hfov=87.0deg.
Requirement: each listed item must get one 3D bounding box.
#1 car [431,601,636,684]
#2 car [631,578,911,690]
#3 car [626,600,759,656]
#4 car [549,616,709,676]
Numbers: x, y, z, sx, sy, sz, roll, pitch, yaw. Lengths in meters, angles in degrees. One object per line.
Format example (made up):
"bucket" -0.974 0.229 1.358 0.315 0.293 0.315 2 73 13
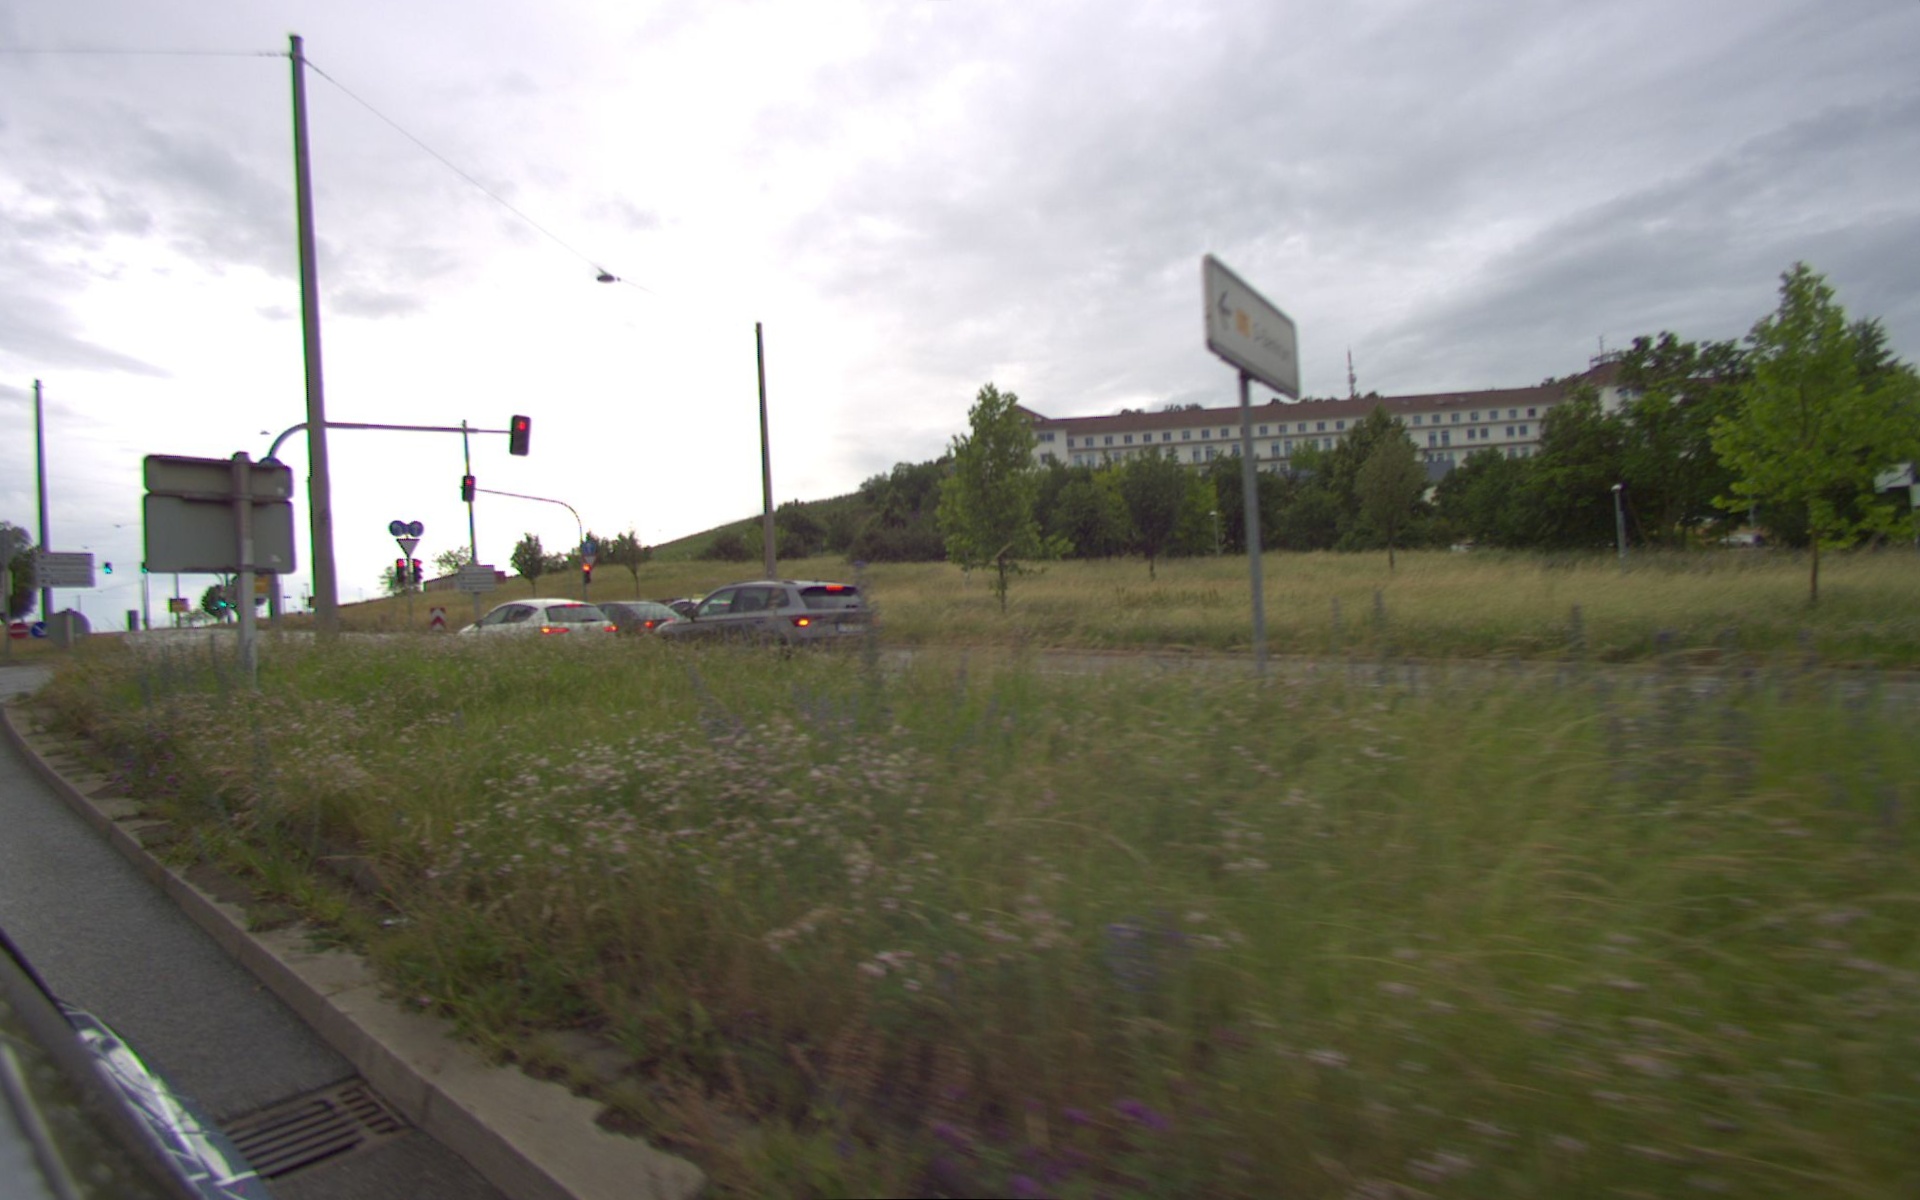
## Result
"car" -8.669 0.831 20.402 4.433 1.433 1.942 -2 0 39
"car" -3.107 0.515 16.159 4.433 1.524 1.974 -2 0 39
"car" -8.851 0.927 33.250 4.799 1.656 1.972 -2 0 44
"car" -7.976 1.084 24.232 4.014 1.316 1.785 -2 -2 39
